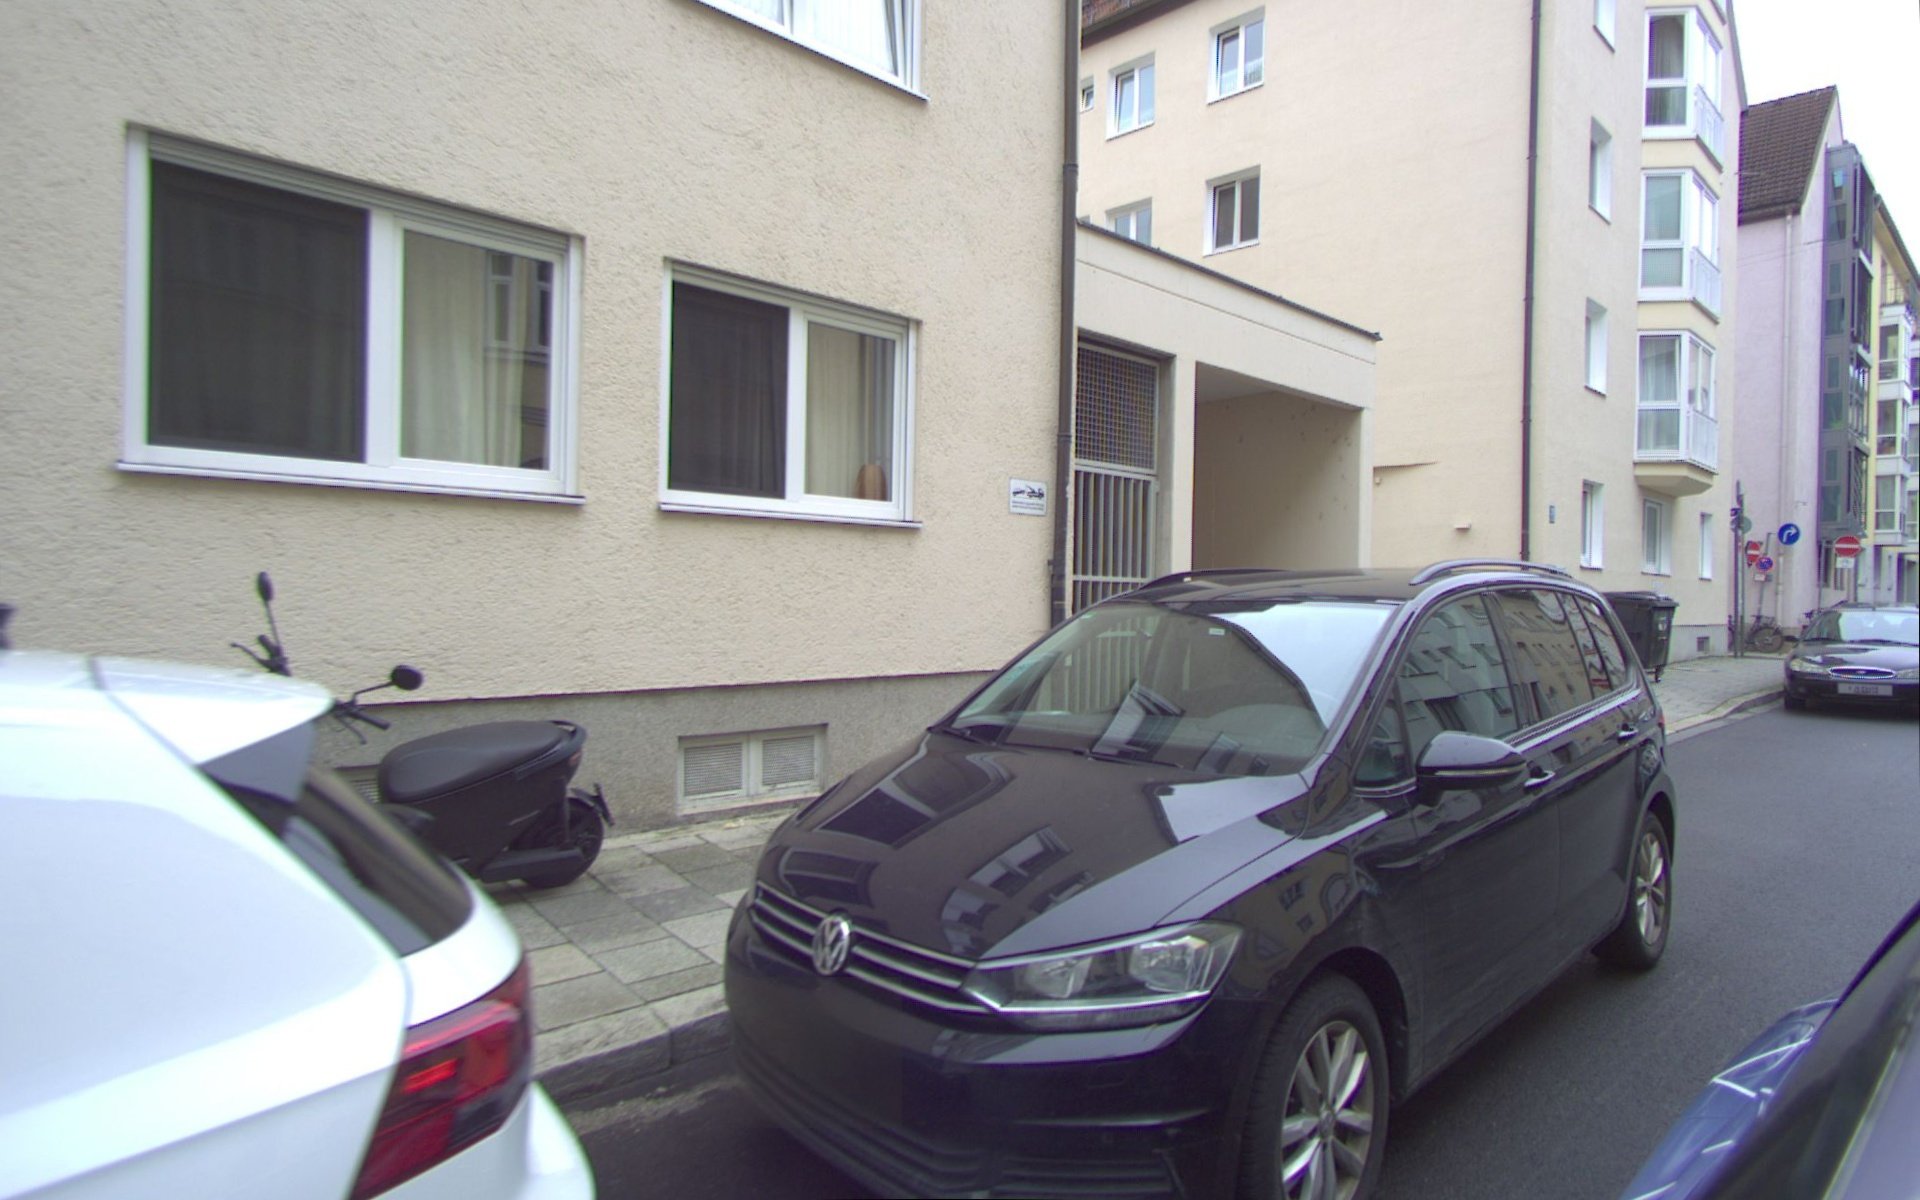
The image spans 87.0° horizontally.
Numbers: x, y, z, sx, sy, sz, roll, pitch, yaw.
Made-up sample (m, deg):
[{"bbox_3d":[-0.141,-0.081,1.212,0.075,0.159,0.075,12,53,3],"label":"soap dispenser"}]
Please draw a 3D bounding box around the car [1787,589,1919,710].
[{"bbox_3d":[13.117,0.598,14.296,4.457,1.490,1.718,0,0,-44],"label":"car"}]

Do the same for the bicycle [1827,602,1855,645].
[{"bbox_3d":[24.491,0.643,28.133,1.515,1.136,0.357,1,0,-41],"label":"bicycle"}]

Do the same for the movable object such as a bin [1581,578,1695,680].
[{"bbox_3d":[10.408,0.409,15.529,1.559,1.440,1.034,0,3,-41],"label":"movable object such as a bin"}]

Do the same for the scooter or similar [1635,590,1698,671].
[{"bbox_3d":[11.878,0.493,16.998,1.117,1.282,0.577,0,3,-42],"label":"scooter or similar"}]

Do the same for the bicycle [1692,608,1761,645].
[{"bbox_3d":[21.049,0.721,27.792,1.448,0.959,0.543,1,0,45],"label":"bicycle"}]

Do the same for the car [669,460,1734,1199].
[{"bbox_3d":[1.259,0.562,3.731,4.170,1.628,1.714,0,0,-41],"label":"car"}]

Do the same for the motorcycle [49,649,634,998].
[{"bbox_3d":[-2.291,0.739,3.960,1.878,0.979,0.482,0,4,-42],"label":"motorcycle"}]

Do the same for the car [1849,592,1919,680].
[{"bbox_3d":[17.242,0.579,17.806,4.334,1.424,1.836,0,0,-41],"label":"car"}]

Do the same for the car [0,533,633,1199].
[{"bbox_3d":[-2.490,0.706,0.430,4.173,1.505,1.713,0,0,-43],"label":"car"}]
